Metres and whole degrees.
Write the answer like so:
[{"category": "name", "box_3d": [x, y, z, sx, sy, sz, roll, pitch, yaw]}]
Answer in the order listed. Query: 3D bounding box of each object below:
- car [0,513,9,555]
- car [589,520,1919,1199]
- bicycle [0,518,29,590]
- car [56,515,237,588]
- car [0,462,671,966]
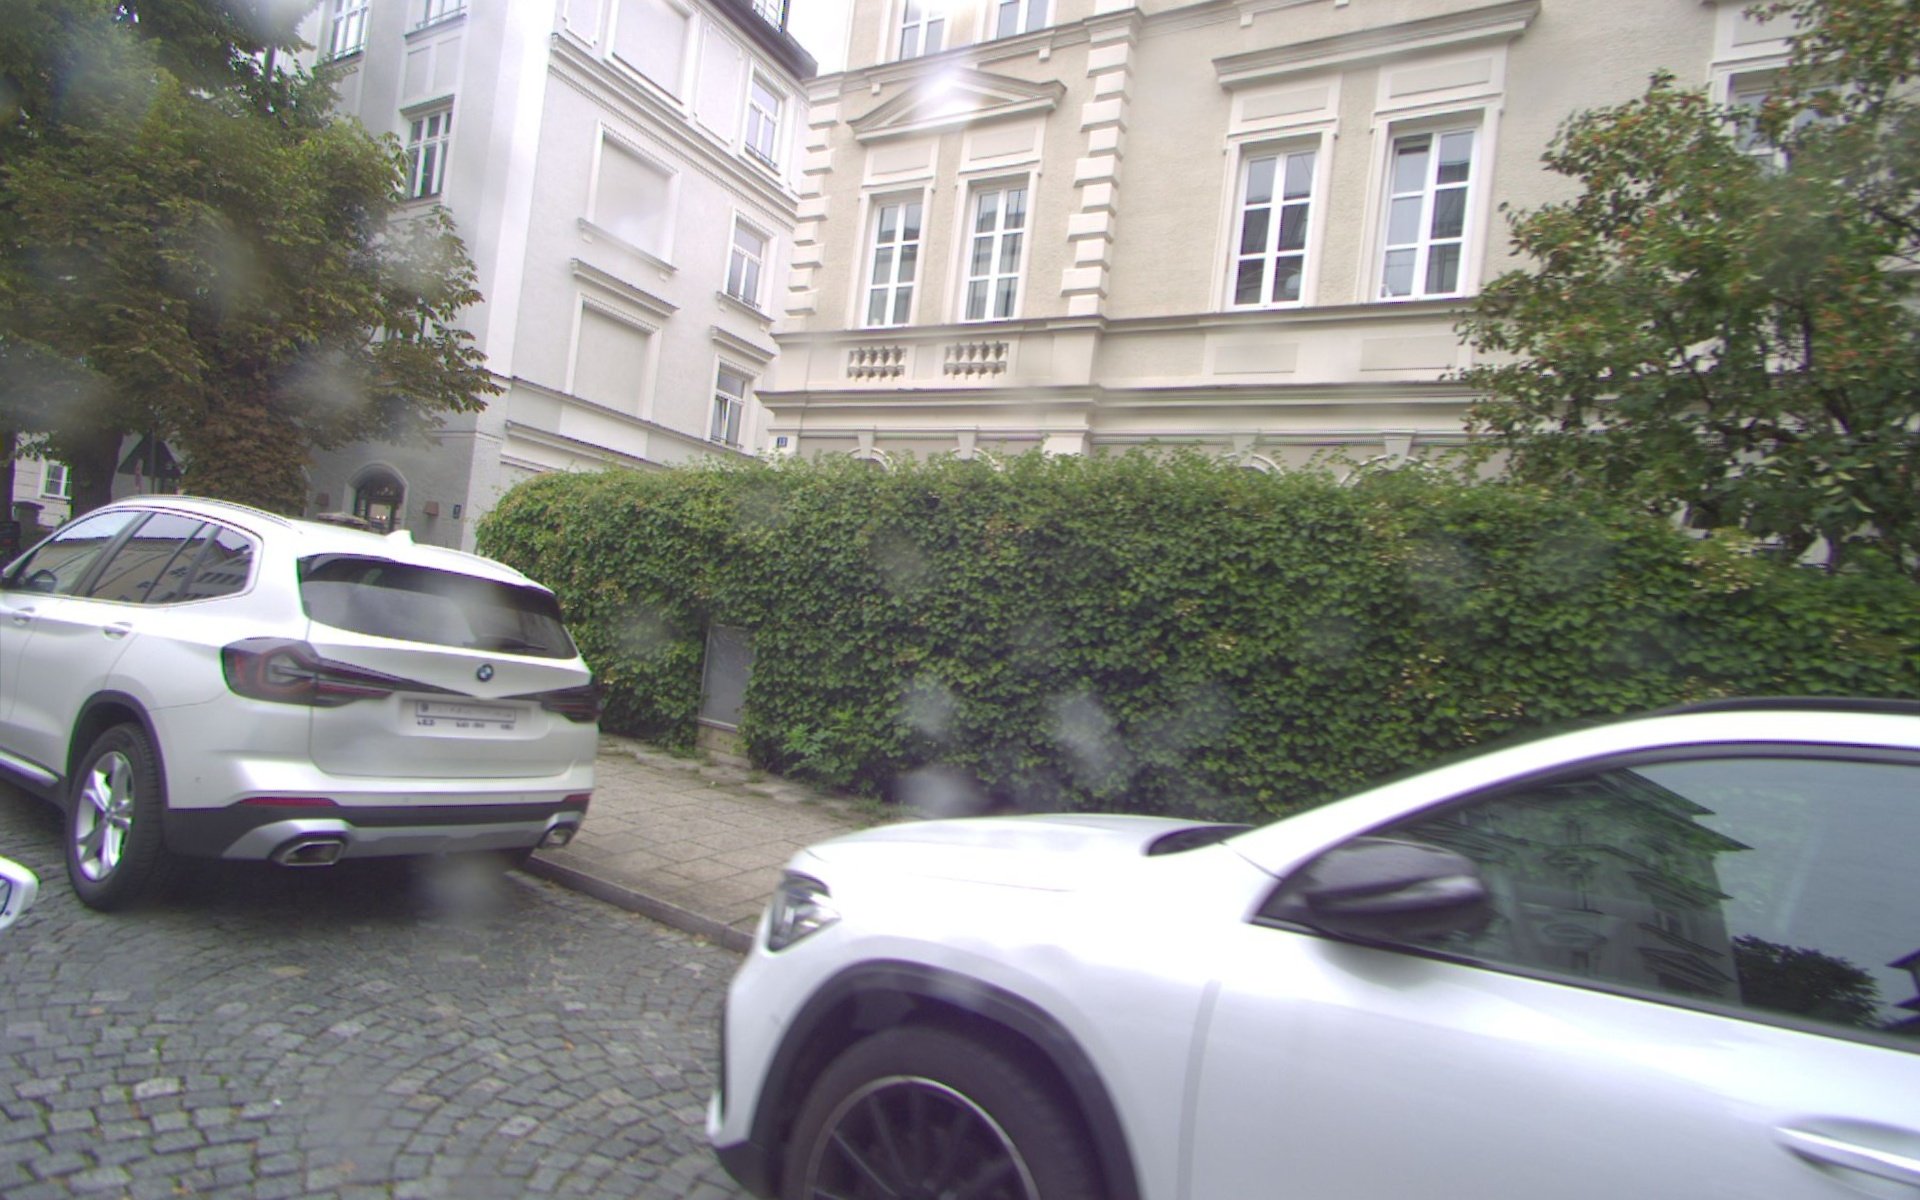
[{"category": "car", "box_3d": [-33.803, -2.479, 32.306, 1.734, 1.373, 4.468, 6, -2, 38]}, {"category": "car", "box_3d": [1.545, 0.895, 1.986, 4.397, 1.618, 1.751, 6, -3, 31]}, {"category": "bicycle", "box_3d": [-17.315, -0.850, 18.065, 1.702, 1.215, 0.427, 6, 3, 32]}, {"category": "car", "box_3d": [-25.409, -1.498, 31.527, 1.880, 1.615, 4.071, 5, -3, 42]}, {"category": "car", "box_3d": [-3.965, 0.312, 5.429, 4.558, 1.705, 1.924, 5, -3, 32]}]
